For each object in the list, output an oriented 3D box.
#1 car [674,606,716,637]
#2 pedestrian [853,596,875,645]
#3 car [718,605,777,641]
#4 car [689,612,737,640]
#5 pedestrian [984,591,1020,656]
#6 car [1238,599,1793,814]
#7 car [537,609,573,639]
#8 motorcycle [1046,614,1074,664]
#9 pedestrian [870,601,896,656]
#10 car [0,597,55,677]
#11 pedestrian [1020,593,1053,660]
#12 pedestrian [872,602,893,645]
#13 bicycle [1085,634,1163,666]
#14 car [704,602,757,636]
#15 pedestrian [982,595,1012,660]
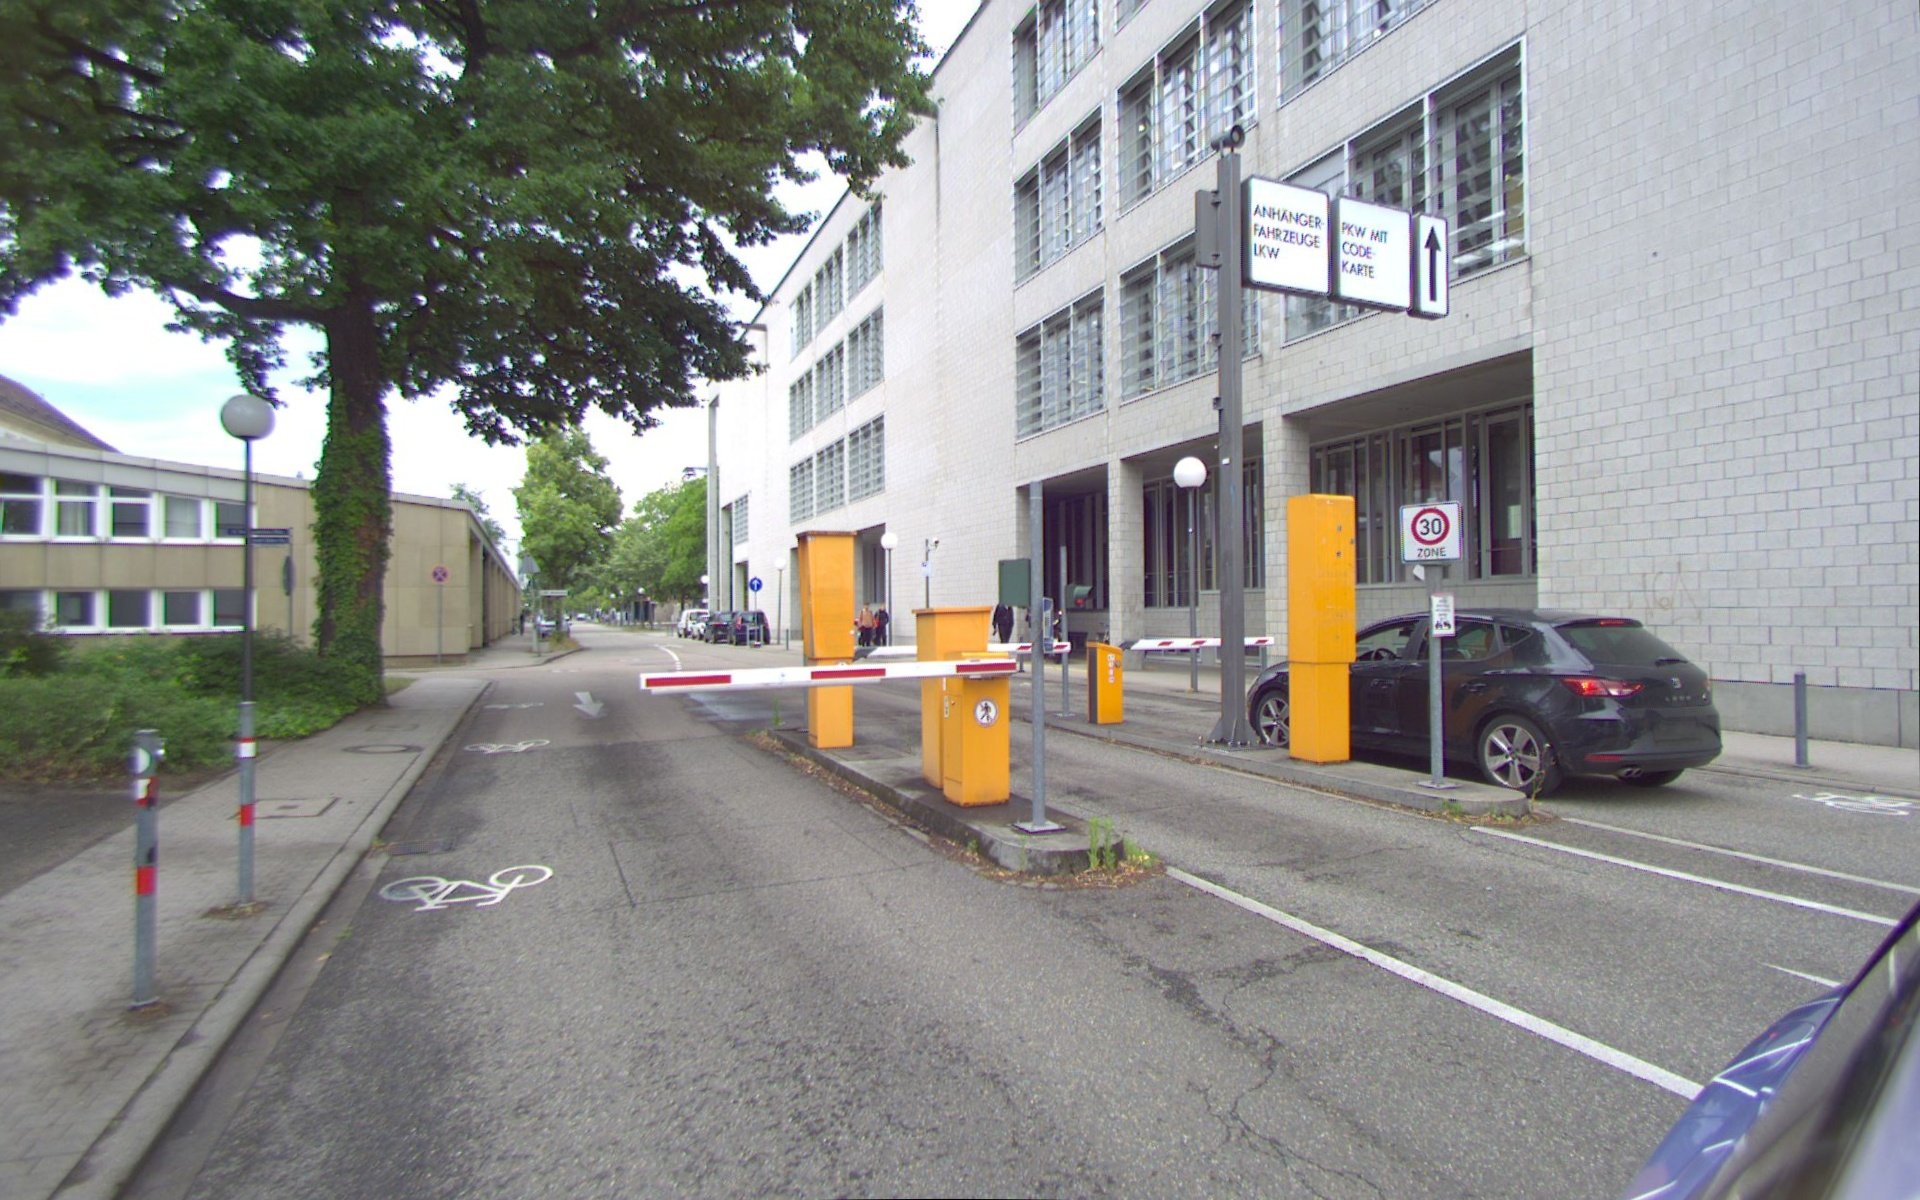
[{"bbox_3d":[-16.961,1.339,64.713,1.958,1.804,4.436,-1,0,-23],"label":"car"},{"bbox_3d":[-3.438,0.749,36.263,0.684,1.736,0.490,1,-1,-18],"label":"pedestrian"},{"bbox_3d":[-10.342,1.099,48.993,1.958,1.643,4.435,-1,-1,-23],"label":"car"},{"bbox_3d":[-14.231,1.460,58.121,1.958,1.482,4.436,-1,0,-23],"label":"car"},{"bbox_3d":[1.129,0.627,27.307,0.715,1.720,0.589,1,1,-28],"label":"pedestrian"},{"bbox_3d":[4.525,0.730,9.022,1.751,1.437,4.137,1,-1,-23],"label":"car"},{"bbox_3d":[-22.781,1.321,56.857,1.739,1.621,4.007,1,-1,-24],"label":"car"},{"bbox_3d":[2.632,1.004,26.793,0.557,1.162,2.216,2,1,2],"label":"motorcycle"},{"bbox_3d":[-2.430,0.898,31.951,0.684,1.736,0.490,1,-1,-22],"label":"pedestrian"},{"bbox_3d":[-19.652,0.707,19.678,1.830,1.549,4.007,1,-1,-23],"label":"car"},{"bbox_3d":[2.008,0.695,26.524,0.576,1.720,0.693,1,1,-21],"label":"pedestrian"},{"bbox_3d":[-2.818,0.859,36.650,0.632,1.546,0.473,1,-1,-21],"label":"pedestrian"},{"bbox_3d":[3.866,1.176,23.822,1.863,0.707,0.494,1,1,-26],"label":"bicycle"},{"bbox_3d":[-12.084,0.975,53.185,1.958,1.643,4.436,-1,0,-23],"label":"car"},{"bbox_3d":[1.000,0.734,27.374,0.600,1.736,0.575,-1,-1,-24],"label":"pedestrian"}]
